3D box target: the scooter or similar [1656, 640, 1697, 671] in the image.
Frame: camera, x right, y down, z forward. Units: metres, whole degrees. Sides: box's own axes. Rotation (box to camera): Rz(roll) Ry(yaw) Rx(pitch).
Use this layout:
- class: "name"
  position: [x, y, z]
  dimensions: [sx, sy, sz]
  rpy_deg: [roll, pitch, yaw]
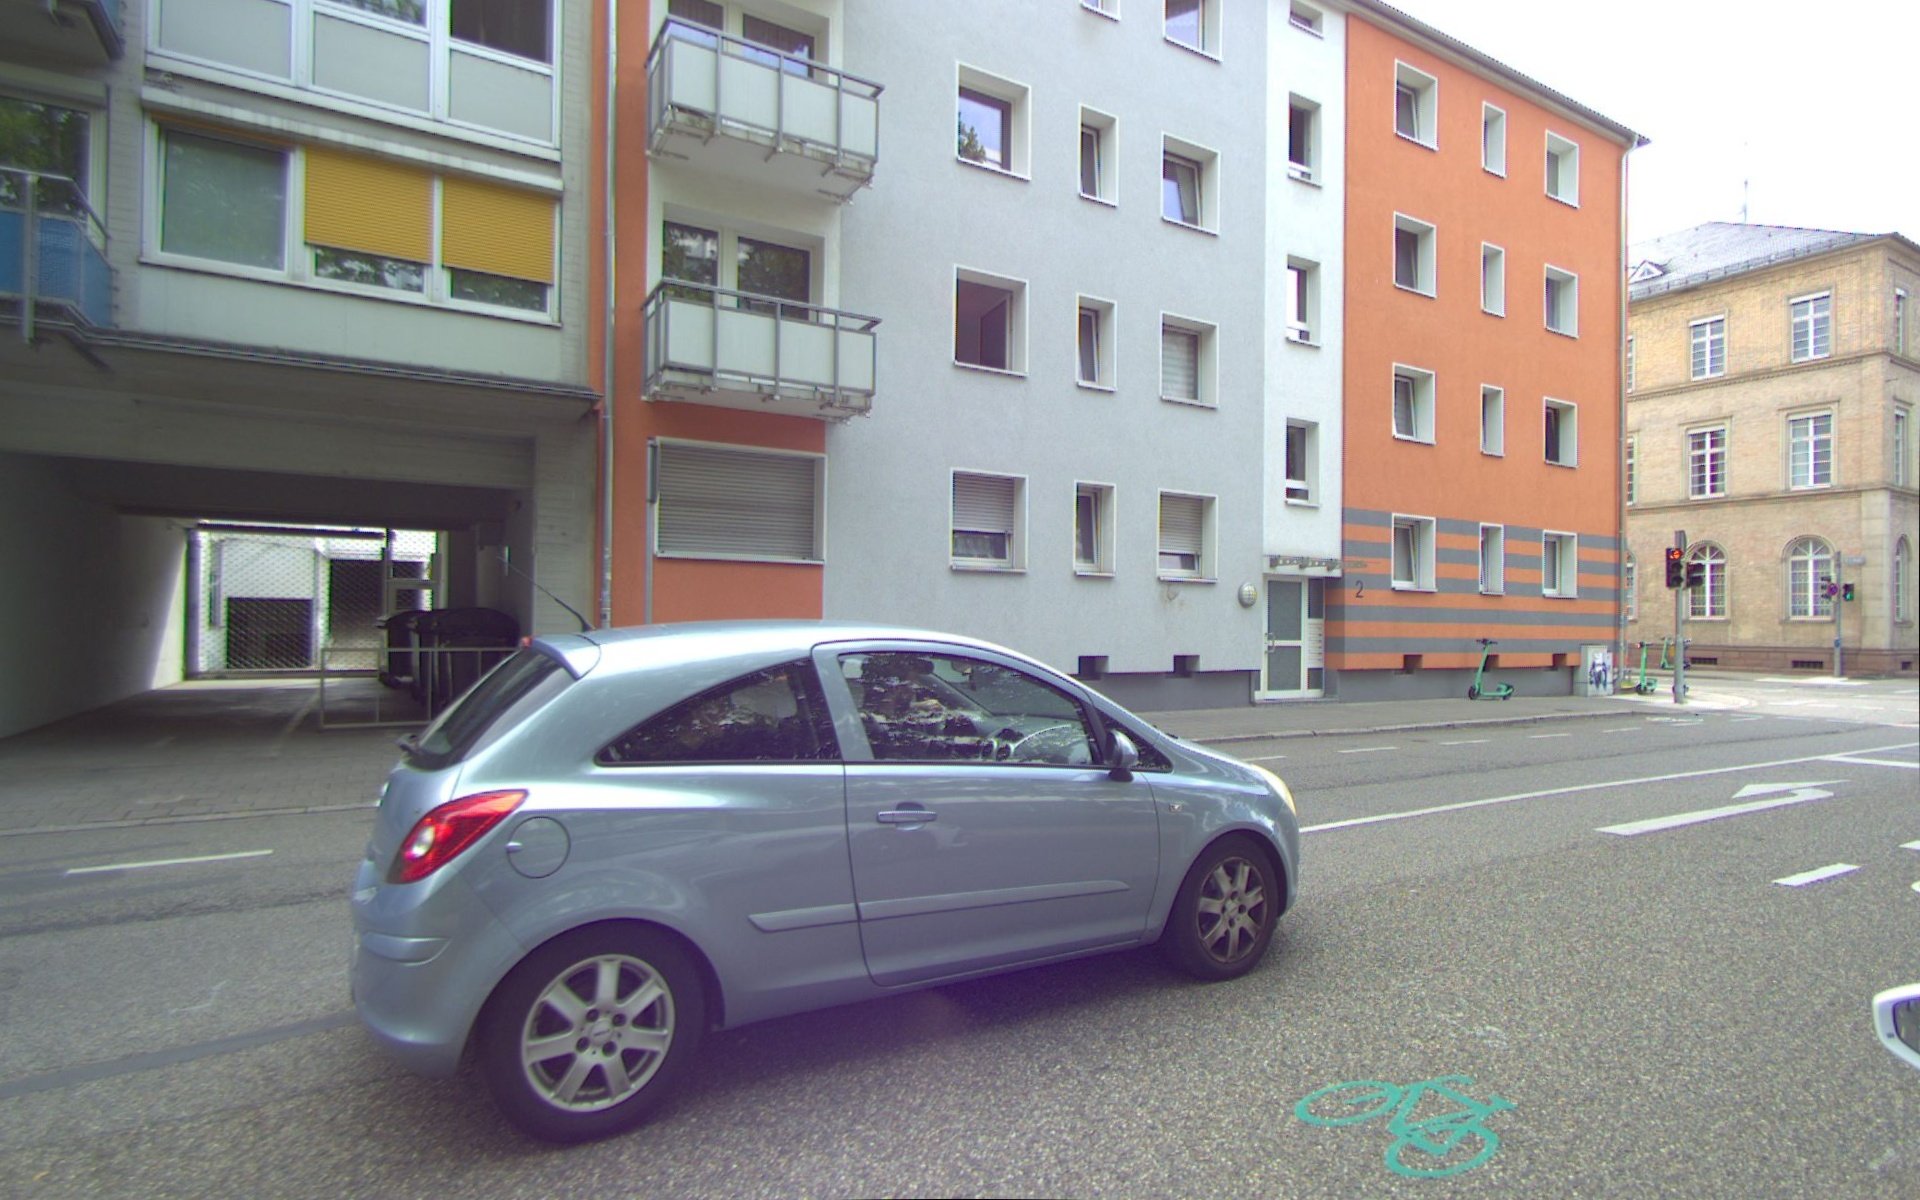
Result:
- class: "scooter or similar"
  position: [25.679, 1.972, 35.995]
  dimensions: [0.375, 1.063, 1.133]
  rpy_deg: [3, -2, -30]

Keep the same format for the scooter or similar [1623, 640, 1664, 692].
- class: "scooter or similar"
  position: [15.590, 1.510, 22.891]
  dimensions: [1.130, 1.162, 0.376]
  rpy_deg: [3, -2, -34]

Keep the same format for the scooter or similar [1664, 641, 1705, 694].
- class: "scooter or similar"
  position: [16.338, 1.515, 22.651]
  dimensions: [1.130, 1.159, 0.376]
  rpy_deg: [3, -2, -34]

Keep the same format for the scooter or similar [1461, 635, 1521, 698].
- class: "scooter or similar"
  position: [10.382, 1.303, 19.624]
  dimensions: [1.374, 1.199, 0.376]
  rpy_deg: [3, -2, -30]

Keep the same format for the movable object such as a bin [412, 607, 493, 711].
- class: "movable object such as a bin"
  position: [-7.665, 0.863, 15.155]
  dimensions: [1.040, 1.483, 1.185]
  rpy_deg: [1, -1, -29]

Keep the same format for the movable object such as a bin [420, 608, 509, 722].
- class: "movable object such as a bin"
  position: [-6.853, 0.862, 13.879]
  dimensions: [1.040, 1.483, 1.185]
  rpy_deg: [1, -1, -29]

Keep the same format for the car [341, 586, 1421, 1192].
- class: "car"
  position: [-0.118, 0.764, 4.250]
  dimensions: [4.205, 1.439, 1.704]
  rpy_deg: [1, -3, -32]

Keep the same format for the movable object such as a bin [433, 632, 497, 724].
- class: "movable object such as a bin"
  position: [-6.421, 0.990, 13.013]
  dimensions: [0.701, 1.140, 0.639]
  rpy_deg: [1, -1, -29]

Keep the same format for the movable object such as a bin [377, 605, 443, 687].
- class: "movable object such as a bin"
  position: [-10.457, 0.860, 19.116]
  dimensions: [1.040, 1.483, 1.185]
  rpy_deg: [1, -1, -29]
